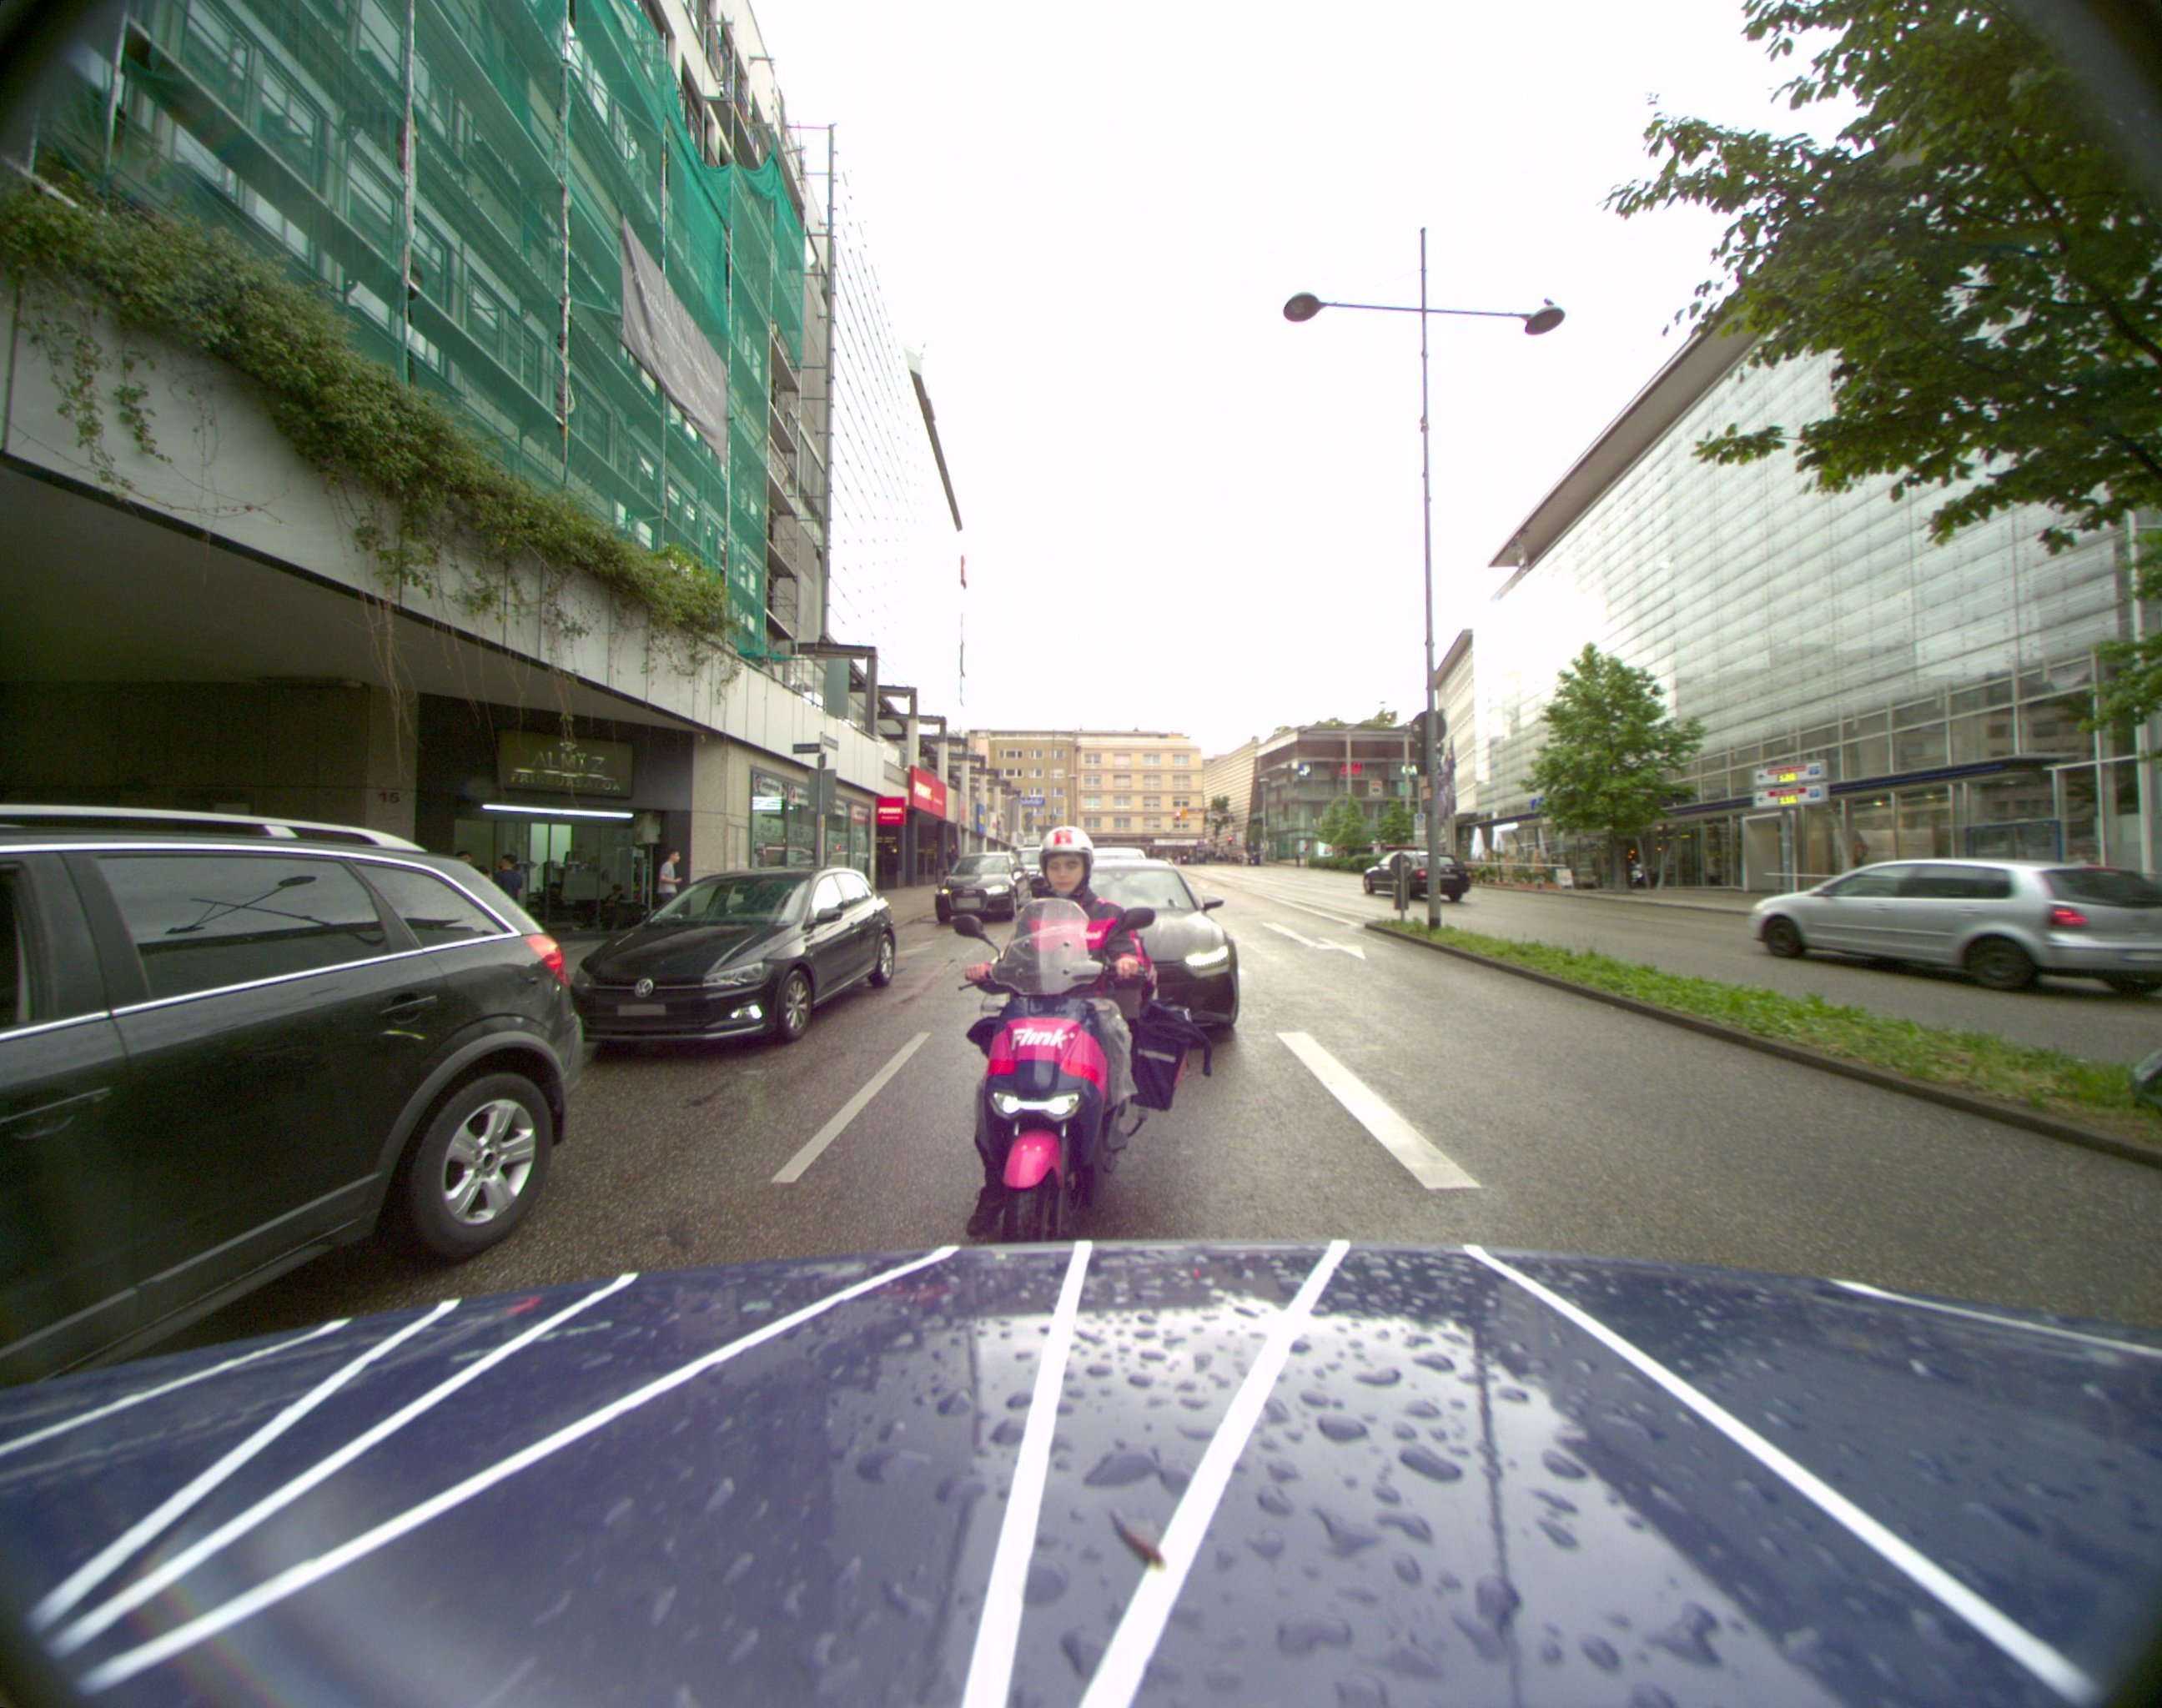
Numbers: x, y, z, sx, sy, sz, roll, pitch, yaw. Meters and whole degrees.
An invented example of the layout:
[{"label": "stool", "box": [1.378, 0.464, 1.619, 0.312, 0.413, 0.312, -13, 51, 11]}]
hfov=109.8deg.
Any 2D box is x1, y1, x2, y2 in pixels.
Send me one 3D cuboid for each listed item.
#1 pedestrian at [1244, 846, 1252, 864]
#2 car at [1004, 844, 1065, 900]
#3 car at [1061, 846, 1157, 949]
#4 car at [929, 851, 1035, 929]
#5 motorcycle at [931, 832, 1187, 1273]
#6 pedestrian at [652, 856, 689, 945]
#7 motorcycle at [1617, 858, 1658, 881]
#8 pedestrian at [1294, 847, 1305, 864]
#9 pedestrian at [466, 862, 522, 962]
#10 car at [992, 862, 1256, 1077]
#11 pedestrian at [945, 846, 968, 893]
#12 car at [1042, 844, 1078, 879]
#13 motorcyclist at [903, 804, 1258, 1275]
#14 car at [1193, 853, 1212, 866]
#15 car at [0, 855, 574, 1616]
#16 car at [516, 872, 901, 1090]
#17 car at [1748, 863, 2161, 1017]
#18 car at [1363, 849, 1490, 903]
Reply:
[{"label": "pedestrian", "box": [18.065, 0.112, 82.151, 0.606, 1.831, 0.588, -2, 1, -1]}, {"label": "car", "box": [-1.517, 0.551, 26.264, 1.832, 1.726, 3.999, 1, 1, 0]}, {"label": "car", "box": [0.478, 0.729, 14.838, 1.632, 1.731, 3.599, 1, 1, 0]}, {"label": "car", "box": [-2.269, 0.775, 18.506, 1.776, 1.575, 4.000, -2, 1, 4]}, {"label": "motorcycle", "box": [-0.107, 0.651, 3.974, 0.832, 1.479, 2.864, 1, 1, -1]}, {"label": "pedestrian", "box": [-7.452, 0.827, 13.800, 0.404, 1.587, 0.464, 0, 1, -1]}, {"label": "motorcycle", "box": [27.203, 0.753, 37.138, 1.571, 1.066, 0.417, 1, 1, 9]}, {"label": "pedestrian", "box": [25.109, 0.212, 87.270, 0.986, 1.887, 0.739, -3, 1, -17]}, {"label": "pedestrian", "box": [-8.924, 0.867, 11.567, 0.428, 1.480, 0.524, 1, 1, 6]}, {"label": "car", "box": [0.321, 0.879, 7.853, 1.937, 1.511, 4.468, -1, 0, 0]}, {"label": "pedestrian", "box": [-4.992, 0.601, 30.489, 0.708, 1.771, 0.640, 5, 6, 1]}, {"label": "car", "box": [-1.083, 0.369, 41.084, 1.832, 1.726, 3.999, 1, 1, 0]}, {"label": "motorcyclist", "box": [0.000, 0.705, 3.315, 1.296, 1.757, 0.845, -2, 1, -1]}, {"label": "car", "box": [19.182, 0.811, 120.104, 2.000, 2.002, 3.997, -2, 1, -7]}, {"label": "car", "box": [-3.295, 0.882, 1.441, 1.735, 1.669, 4.248, -1, 1, 1]}, {"label": "car", "box": [-3.153, 0.973, 7.392, 1.682, 1.422, 3.777, -1, 1, 3]}, {"label": "car", "box": [10.665, 0.877, 9.348, 1.629, 1.429, 3.646, 0, 1, -1]}, {"label": "car", "box": [10.606, 0.601, 23.707, 1.999, 1.500, 4.184, 0, 1, -1]}]
